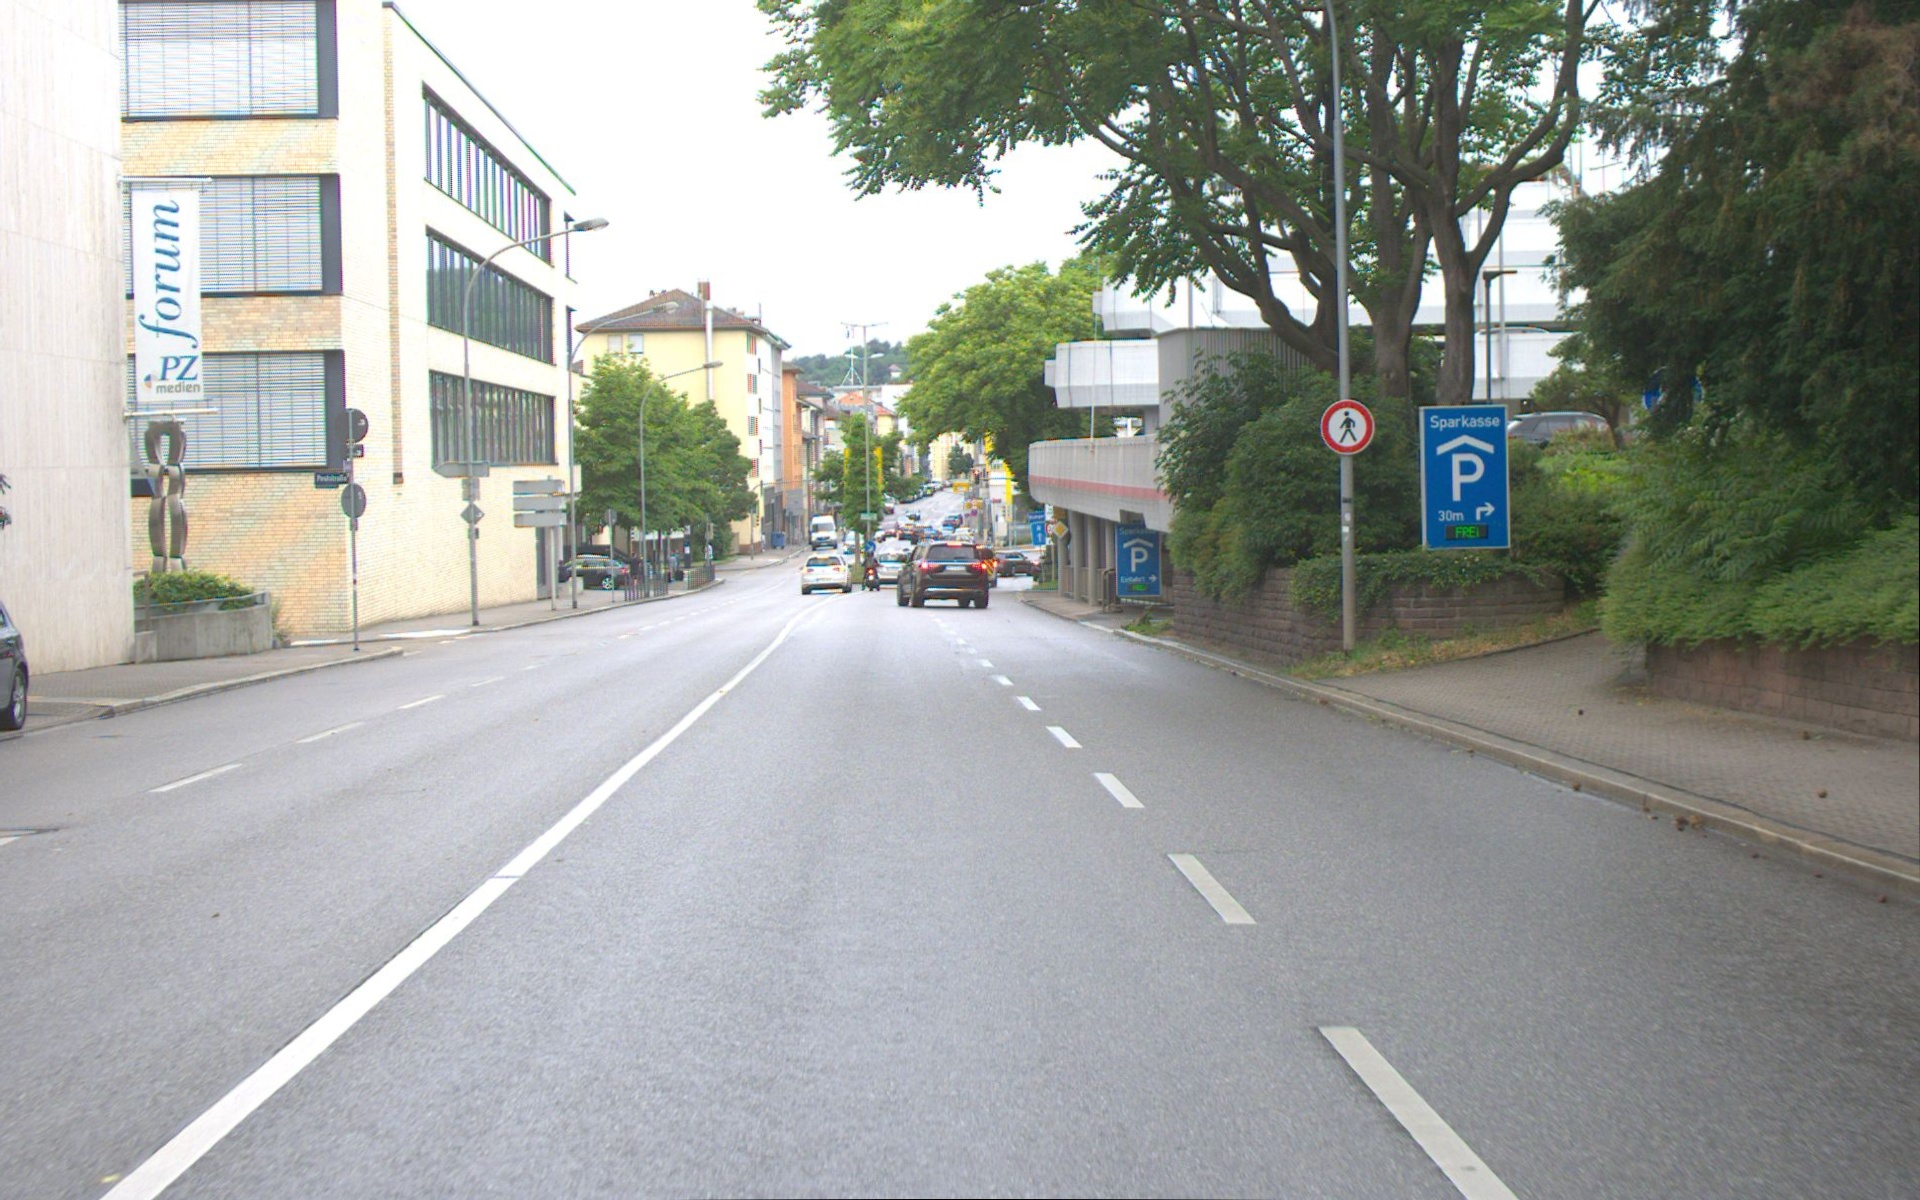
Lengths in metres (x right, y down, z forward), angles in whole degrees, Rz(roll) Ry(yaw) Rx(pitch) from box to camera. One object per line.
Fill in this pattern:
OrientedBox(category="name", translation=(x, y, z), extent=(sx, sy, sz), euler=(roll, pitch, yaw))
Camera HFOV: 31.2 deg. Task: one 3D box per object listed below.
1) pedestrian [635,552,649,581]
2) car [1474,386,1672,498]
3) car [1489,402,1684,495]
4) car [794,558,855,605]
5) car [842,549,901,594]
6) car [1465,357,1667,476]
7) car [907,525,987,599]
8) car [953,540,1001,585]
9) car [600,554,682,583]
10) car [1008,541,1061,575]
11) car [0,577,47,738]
OrientedBox(category="pedestrian", translation=(-14.141, -1.499, 152.855), extent=(0.454, 1.274, 0.454), euler=(-1, 1, 10))
OrientedBox(category="car", translation=(11.603, -2.990, 65.275), extent=(3.585, 2.007, 1.596), euler=(-1, 1, 7))
OrientedBox(category="car", translation=(12.205, -2.948, 67.164), extent=(3.623, 1.700, 1.640), euler=(-1, 1, 7))
OrientedBox(category="car", translation=(-5.082, -0.710, 128.677), extent=(1.993, 1.674, 4.001), euler=(-1, 1, -6))
OrientedBox(category="car", translation=(-3.535, -1.152, 136.816), extent=(1.993, 1.674, 4.001), euler=(-1, 1, -6))
OrientedBox(category="car", translation=(10.871, -3.280, 61.844), extent=(3.451, 2.007, 1.653), euler=(-1, 1, 7))
OrientedBox(category="car", translation=(-0.346, -1.041, 92.736), extent=(2.091, 1.904, 4.100), euler=(-1, 1, 0))
OrientedBox(category="car", translation=(0.777, -1.723, 158.747), extent=(2.173, 1.997, 4.000), euler=(-1, 1, 0))
OrientedBox(category="car", translation=(-14.539, -1.440, 156.665), extent=(3.654, 1.230, 1.441), euler=(-1, 1, -6))
OrientedBox(category="car", translation=(3.875, -2.200, 178.961), extent=(1.994, 1.674, 3.998), euler=(-1, 1, 12))
OrientedBox(category="car", translation=(-9.815, 0.548, 31.856), extent=(1.748, 1.475, 4.182), euler=(0, 1, -2))
